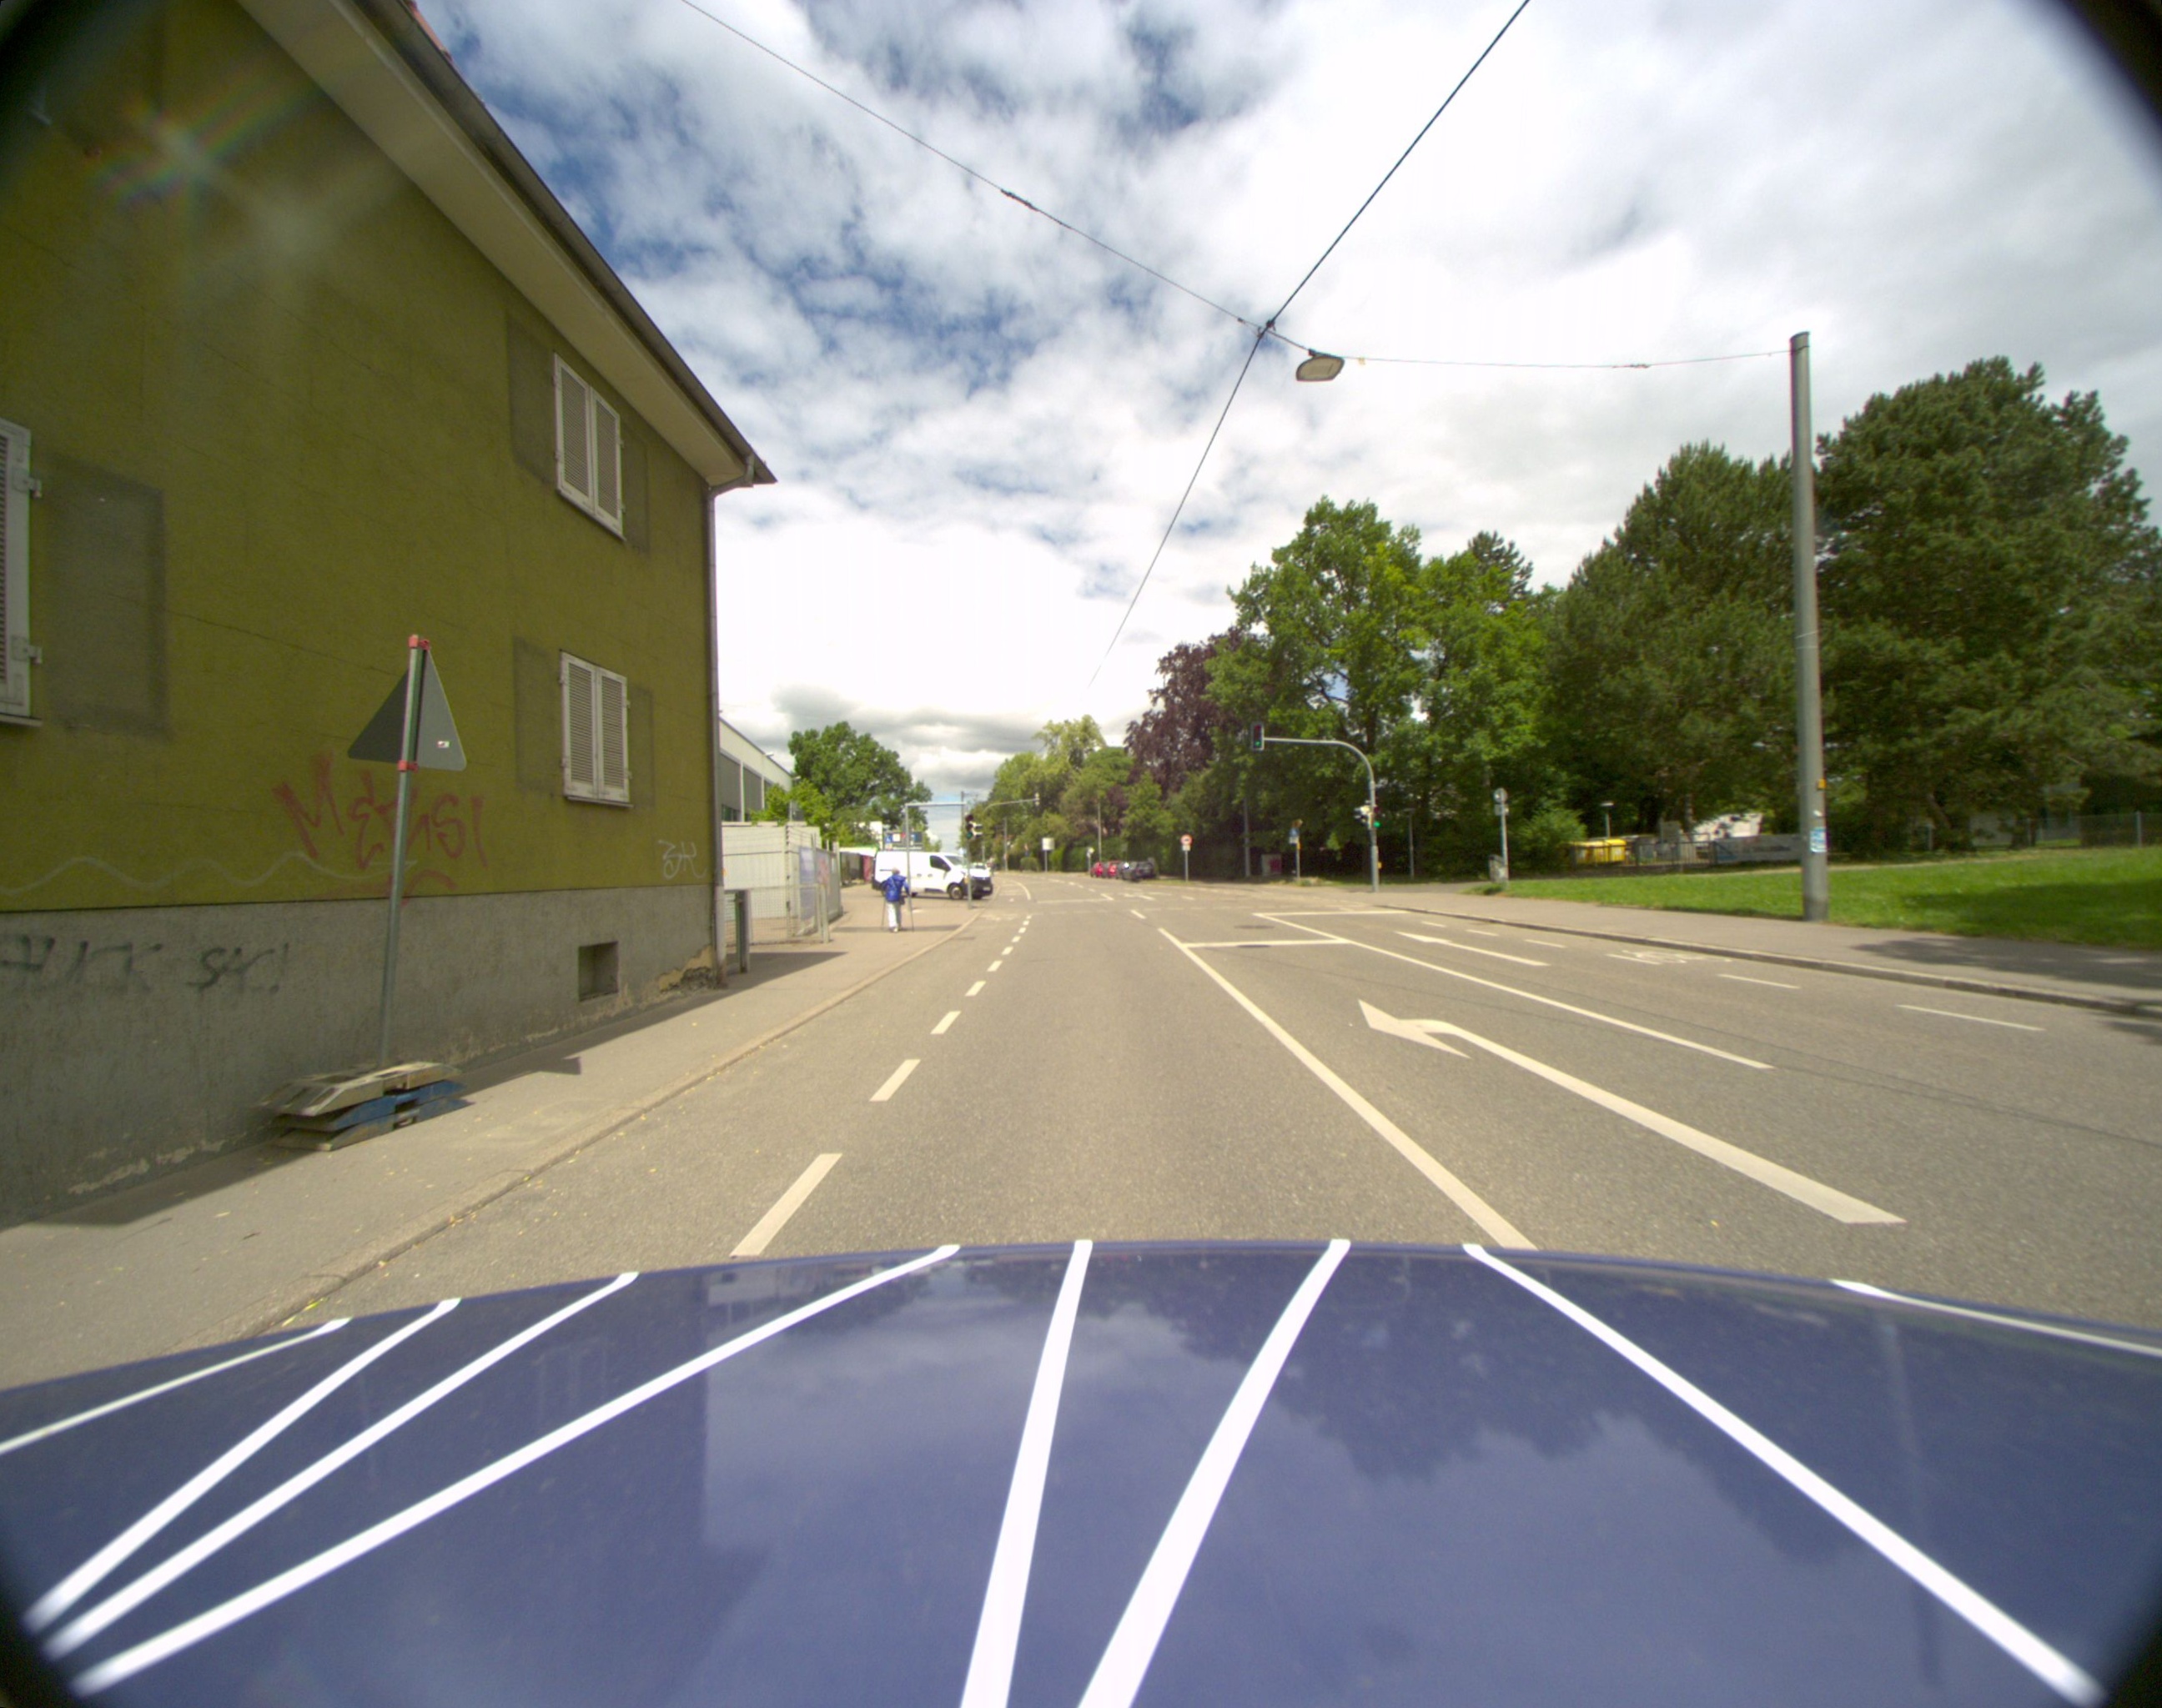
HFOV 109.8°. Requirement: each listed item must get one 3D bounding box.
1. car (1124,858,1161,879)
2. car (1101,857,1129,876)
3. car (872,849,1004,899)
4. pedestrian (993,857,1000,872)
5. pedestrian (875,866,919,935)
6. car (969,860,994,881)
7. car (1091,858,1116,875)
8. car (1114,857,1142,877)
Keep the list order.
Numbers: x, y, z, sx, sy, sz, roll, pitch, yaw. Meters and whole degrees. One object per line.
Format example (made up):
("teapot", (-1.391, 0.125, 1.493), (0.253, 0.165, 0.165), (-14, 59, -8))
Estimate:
("car", (4.489, 1.045, 56.431), (1.688, 1.407, 4.398), (-3, 1, -9))
("car", (2.942, 1.058, 65.746), (1.524, 1.469, 3.321), (-3, 0, -12))
("car", (-6.113, 0.841, 32.381), (5.338, 2.011, 2.003), (-1, 0, 26))
("pedestrian", (-9.355, 1.171, 84.244), (0.554, 1.663, 0.587), (-3, 0, -28))
("pedestrian", (-4.308, 1.073, 17.873), (0.826, 1.563, 0.987), (-1, 0, -4))
("car", (-7.584, 1.253, 57.853), (1.796, 1.522, 3.918), (1, 0, -9))
("car", (2.106, 1.147, 70.881), (1.531, 1.358, 3.371), (-3, 1, -12))
("car", (3.781, 1.025, 61.237), (1.560, 1.404, 3.191), (-3, 1, -9))
